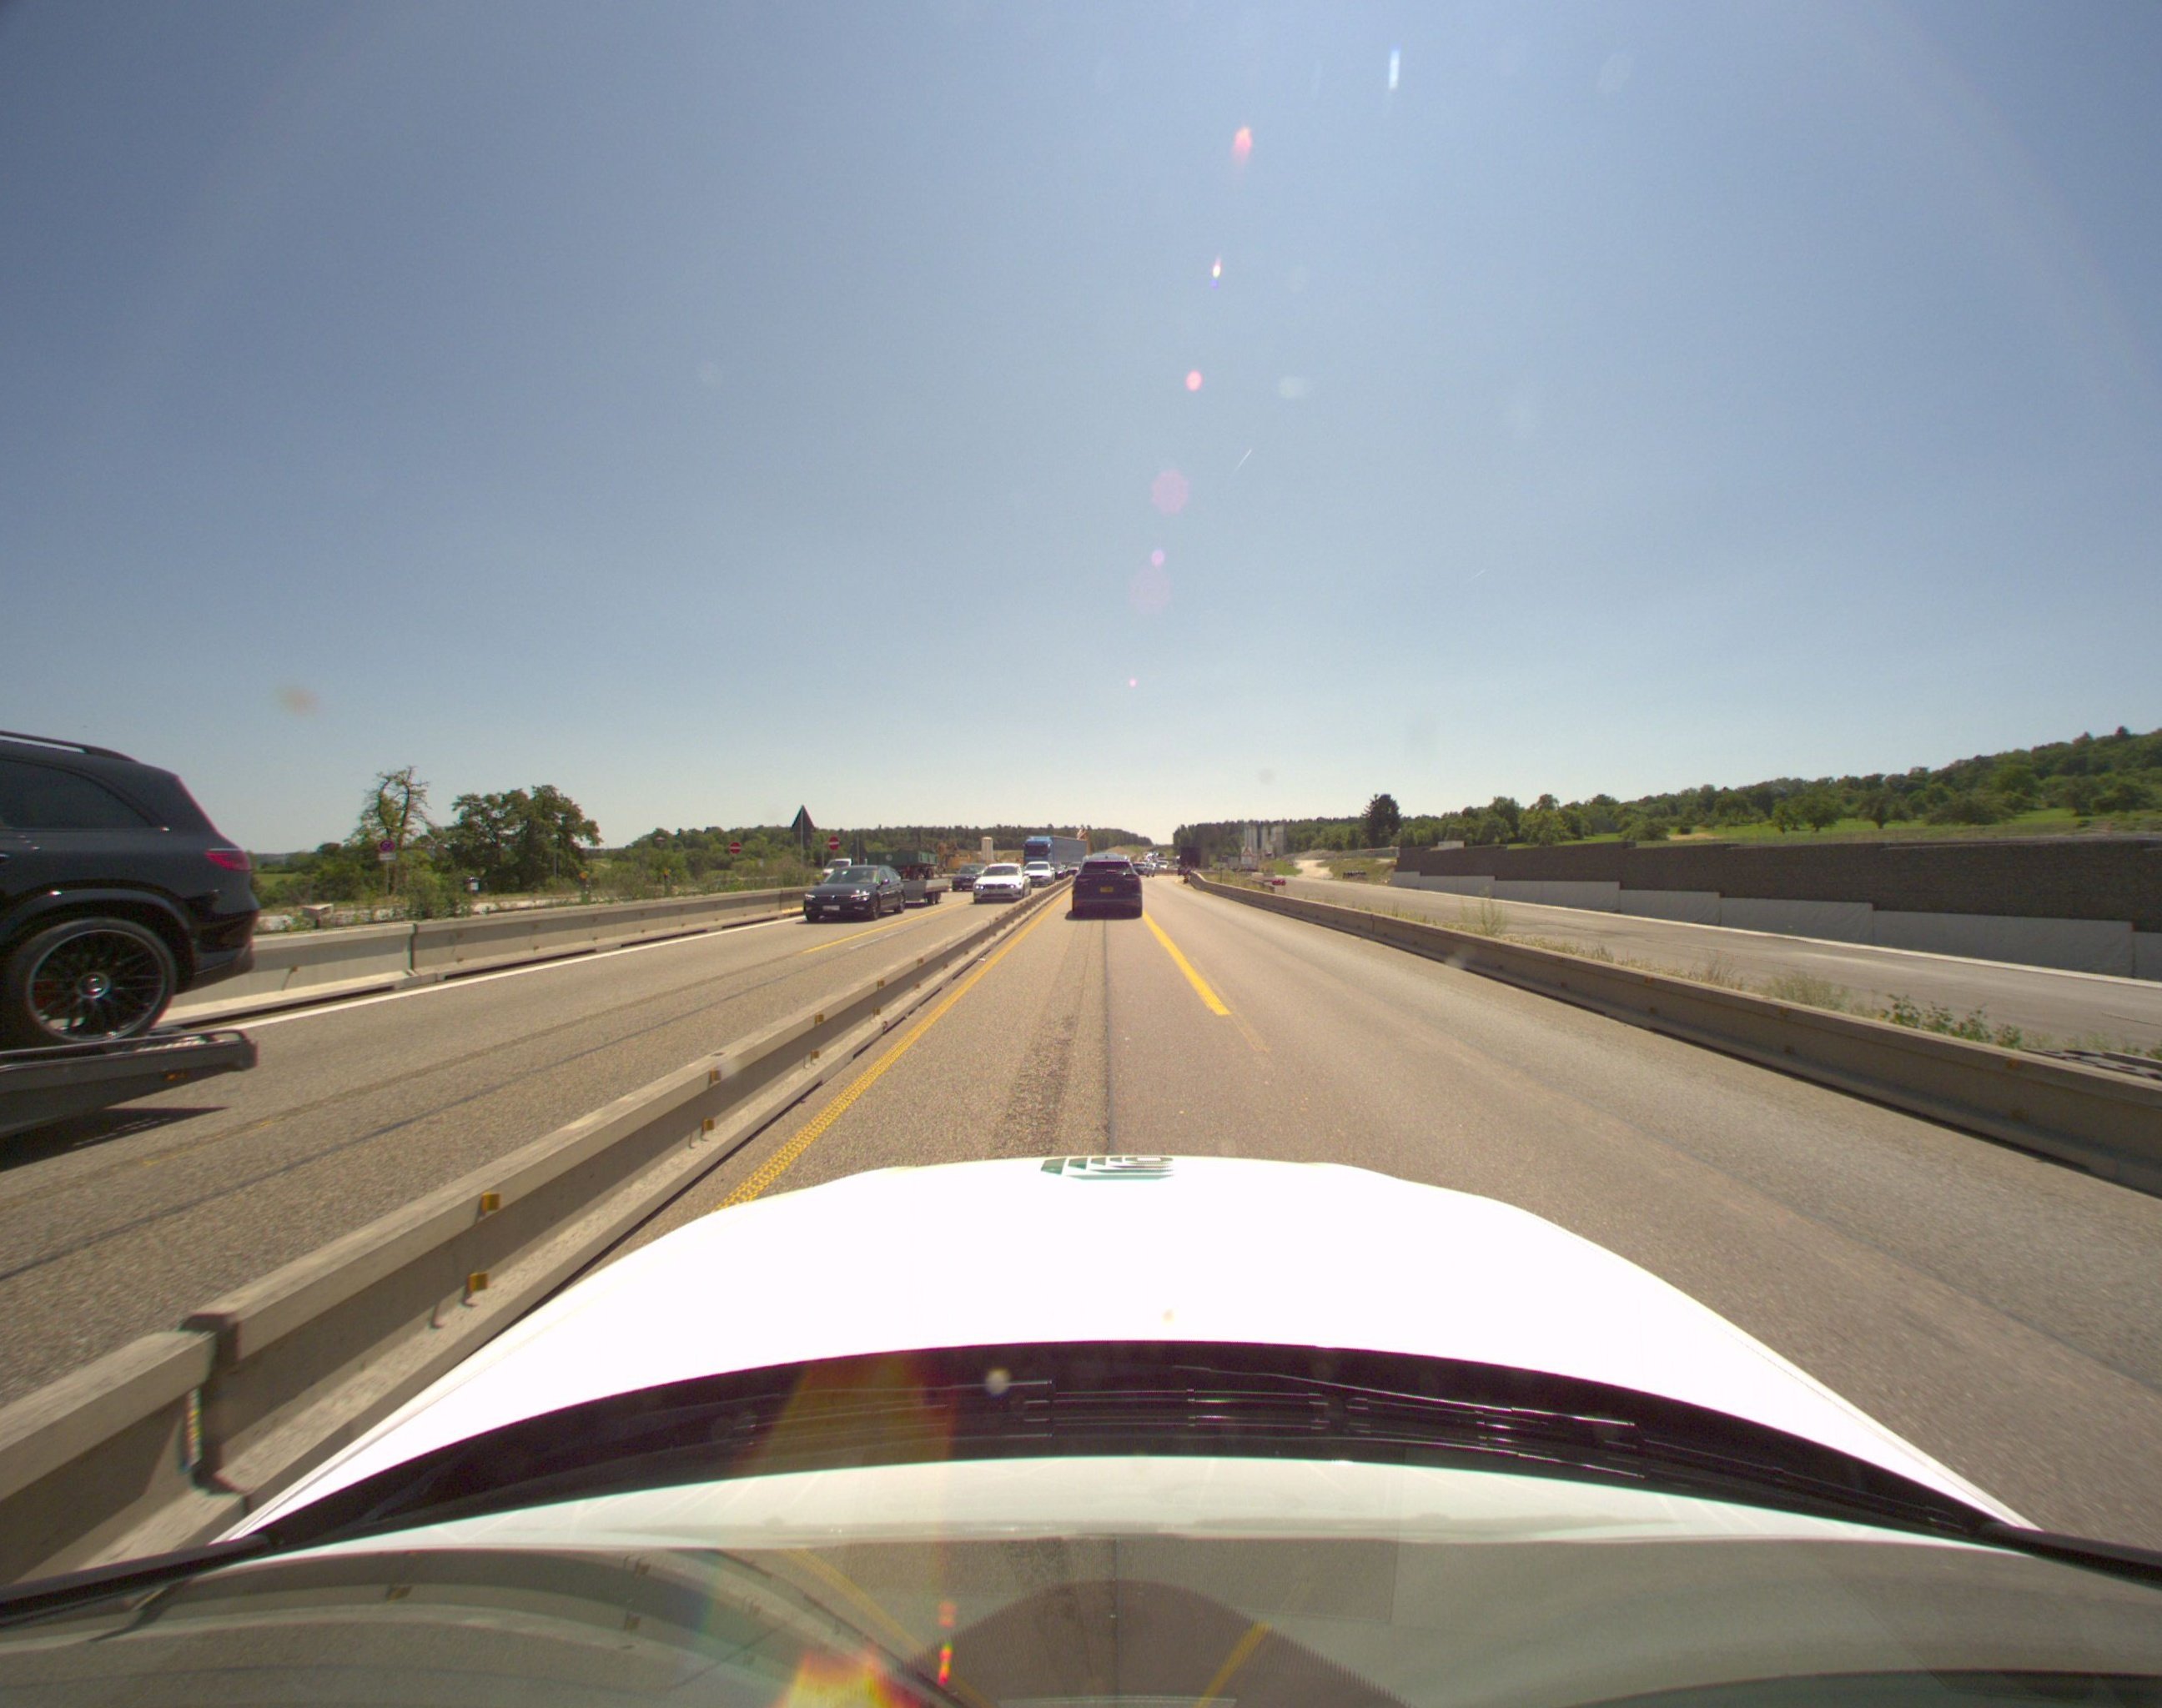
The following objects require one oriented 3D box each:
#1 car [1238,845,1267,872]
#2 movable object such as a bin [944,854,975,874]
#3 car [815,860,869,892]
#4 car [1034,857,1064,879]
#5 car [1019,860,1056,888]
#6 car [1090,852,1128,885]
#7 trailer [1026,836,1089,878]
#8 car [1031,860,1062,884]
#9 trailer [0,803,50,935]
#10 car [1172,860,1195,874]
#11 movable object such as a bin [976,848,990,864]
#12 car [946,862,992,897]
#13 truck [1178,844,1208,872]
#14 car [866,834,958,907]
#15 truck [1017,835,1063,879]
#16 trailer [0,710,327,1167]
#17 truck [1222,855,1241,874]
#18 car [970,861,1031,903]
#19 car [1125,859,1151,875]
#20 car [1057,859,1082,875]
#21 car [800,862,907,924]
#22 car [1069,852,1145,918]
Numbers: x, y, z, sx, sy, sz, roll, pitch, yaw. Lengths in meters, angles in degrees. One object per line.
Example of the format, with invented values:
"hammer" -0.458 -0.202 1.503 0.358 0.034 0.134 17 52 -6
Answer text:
"car" 27.584 0.787 130.692 3.410 4.101 9.236 4 0 17
"movable object such as a bin" -17.106 1.390 114.679 2.893 2.727 3.324 3 0 -38
"car" -16.401 1.473 56.157 1.909 1.941 5.100 -1 1 4
"car" -2.364 1.021 61.207 2.009 1.444 4.589 -1 1 1
"car" -2.510 1.144 48.076 1.727 1.478 4.521 -3 0 2
"car" 1.685 0.835 47.997 1.984 1.844 4.005 1 0 5
"trailer" -2.301 0.281 87.287 2.893 4.129 13.971 -1 0 15
"car" -2.290 1.192 55.193 1.768 1.427 4.770 -2 0 0
"trailer" -37.975 0.529 20.685 3.120 4.111 14.250 -2 0 28
"car" 13.033 1.685 103.237 1.805 1.644 3.886 1 -1 23
"movable object such as a bin" -20.534 0.362 170.432 2.420 3.126 5.465 4 0 -9
"car" -5.827 1.295 42.665 1.760 1.597 4.001 -1 1 1
"truck" 12.270 0.485 89.147 2.654 2.946 5.640 -1 -2 14
"car" -6.064 0.526 30.044 1.907 2.399 6.454 0 0 1
"truck" -3.993 0.292 80.558 2.894 4.129 6.160 -1 0 13
"trailer" -6.608 0.473 3.035 2.174 2.314 5.616 -3 0 1
"truck" 35.846 2.477 194.277 3.458 4.220 10.393 5 0 6
"car" -2.977 1.009 30.809 1.810 1.376 4.248 0 0 1
"car" 5.661 1.298 80.362 2.032 1.526 5.080 0 0 10
"car" -1.057 1.229 77.575 1.579 1.441 4.136 -2 0 10
"car" -6.198 1.006 22.706 1.681 1.452 4.336 -1 0 1
"car" 0.732 0.773 22.248 1.835 1.582 4.002 -2 0 2
